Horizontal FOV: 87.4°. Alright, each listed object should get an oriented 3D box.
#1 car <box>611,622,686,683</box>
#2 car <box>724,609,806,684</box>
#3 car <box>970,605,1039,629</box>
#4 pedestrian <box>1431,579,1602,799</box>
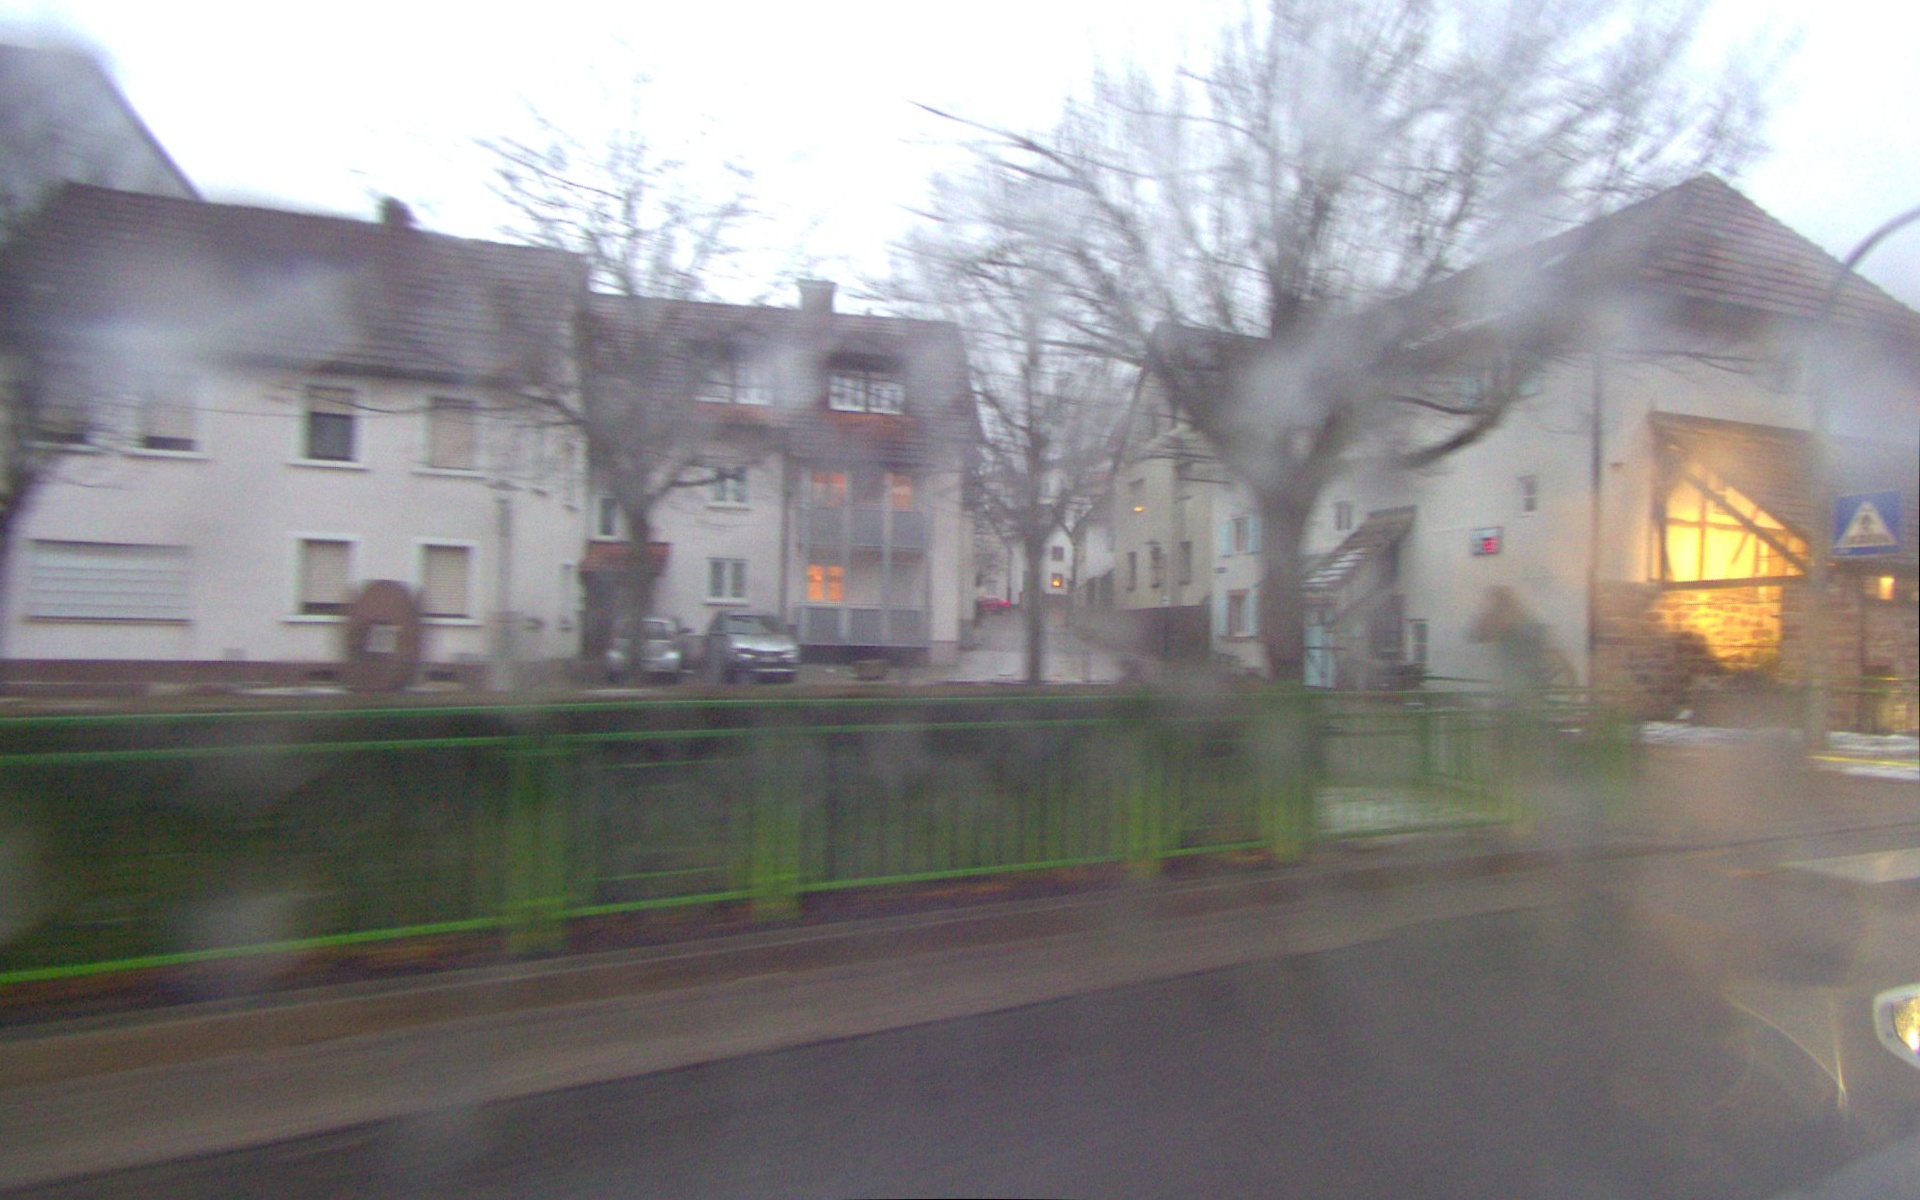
[{"bbox_3d":[-7.494,1.228,24.375,1.502,1.142,3.046,1,3,-13],"label":"car"},{"bbox_3d":[-4.938,1.110,25.163,1.685,1.634,3.597,1,1,-16],"label":"car"},{"bbox_3d":[2.032,0.765,46.555,2.980,1.012,1.424,1,1,-9],"label":"car"},{"bbox_3d":[4.709,0.721,8.553,0.938,1.758,0.881,0,0,-11],"label":"pedestrian"}]
